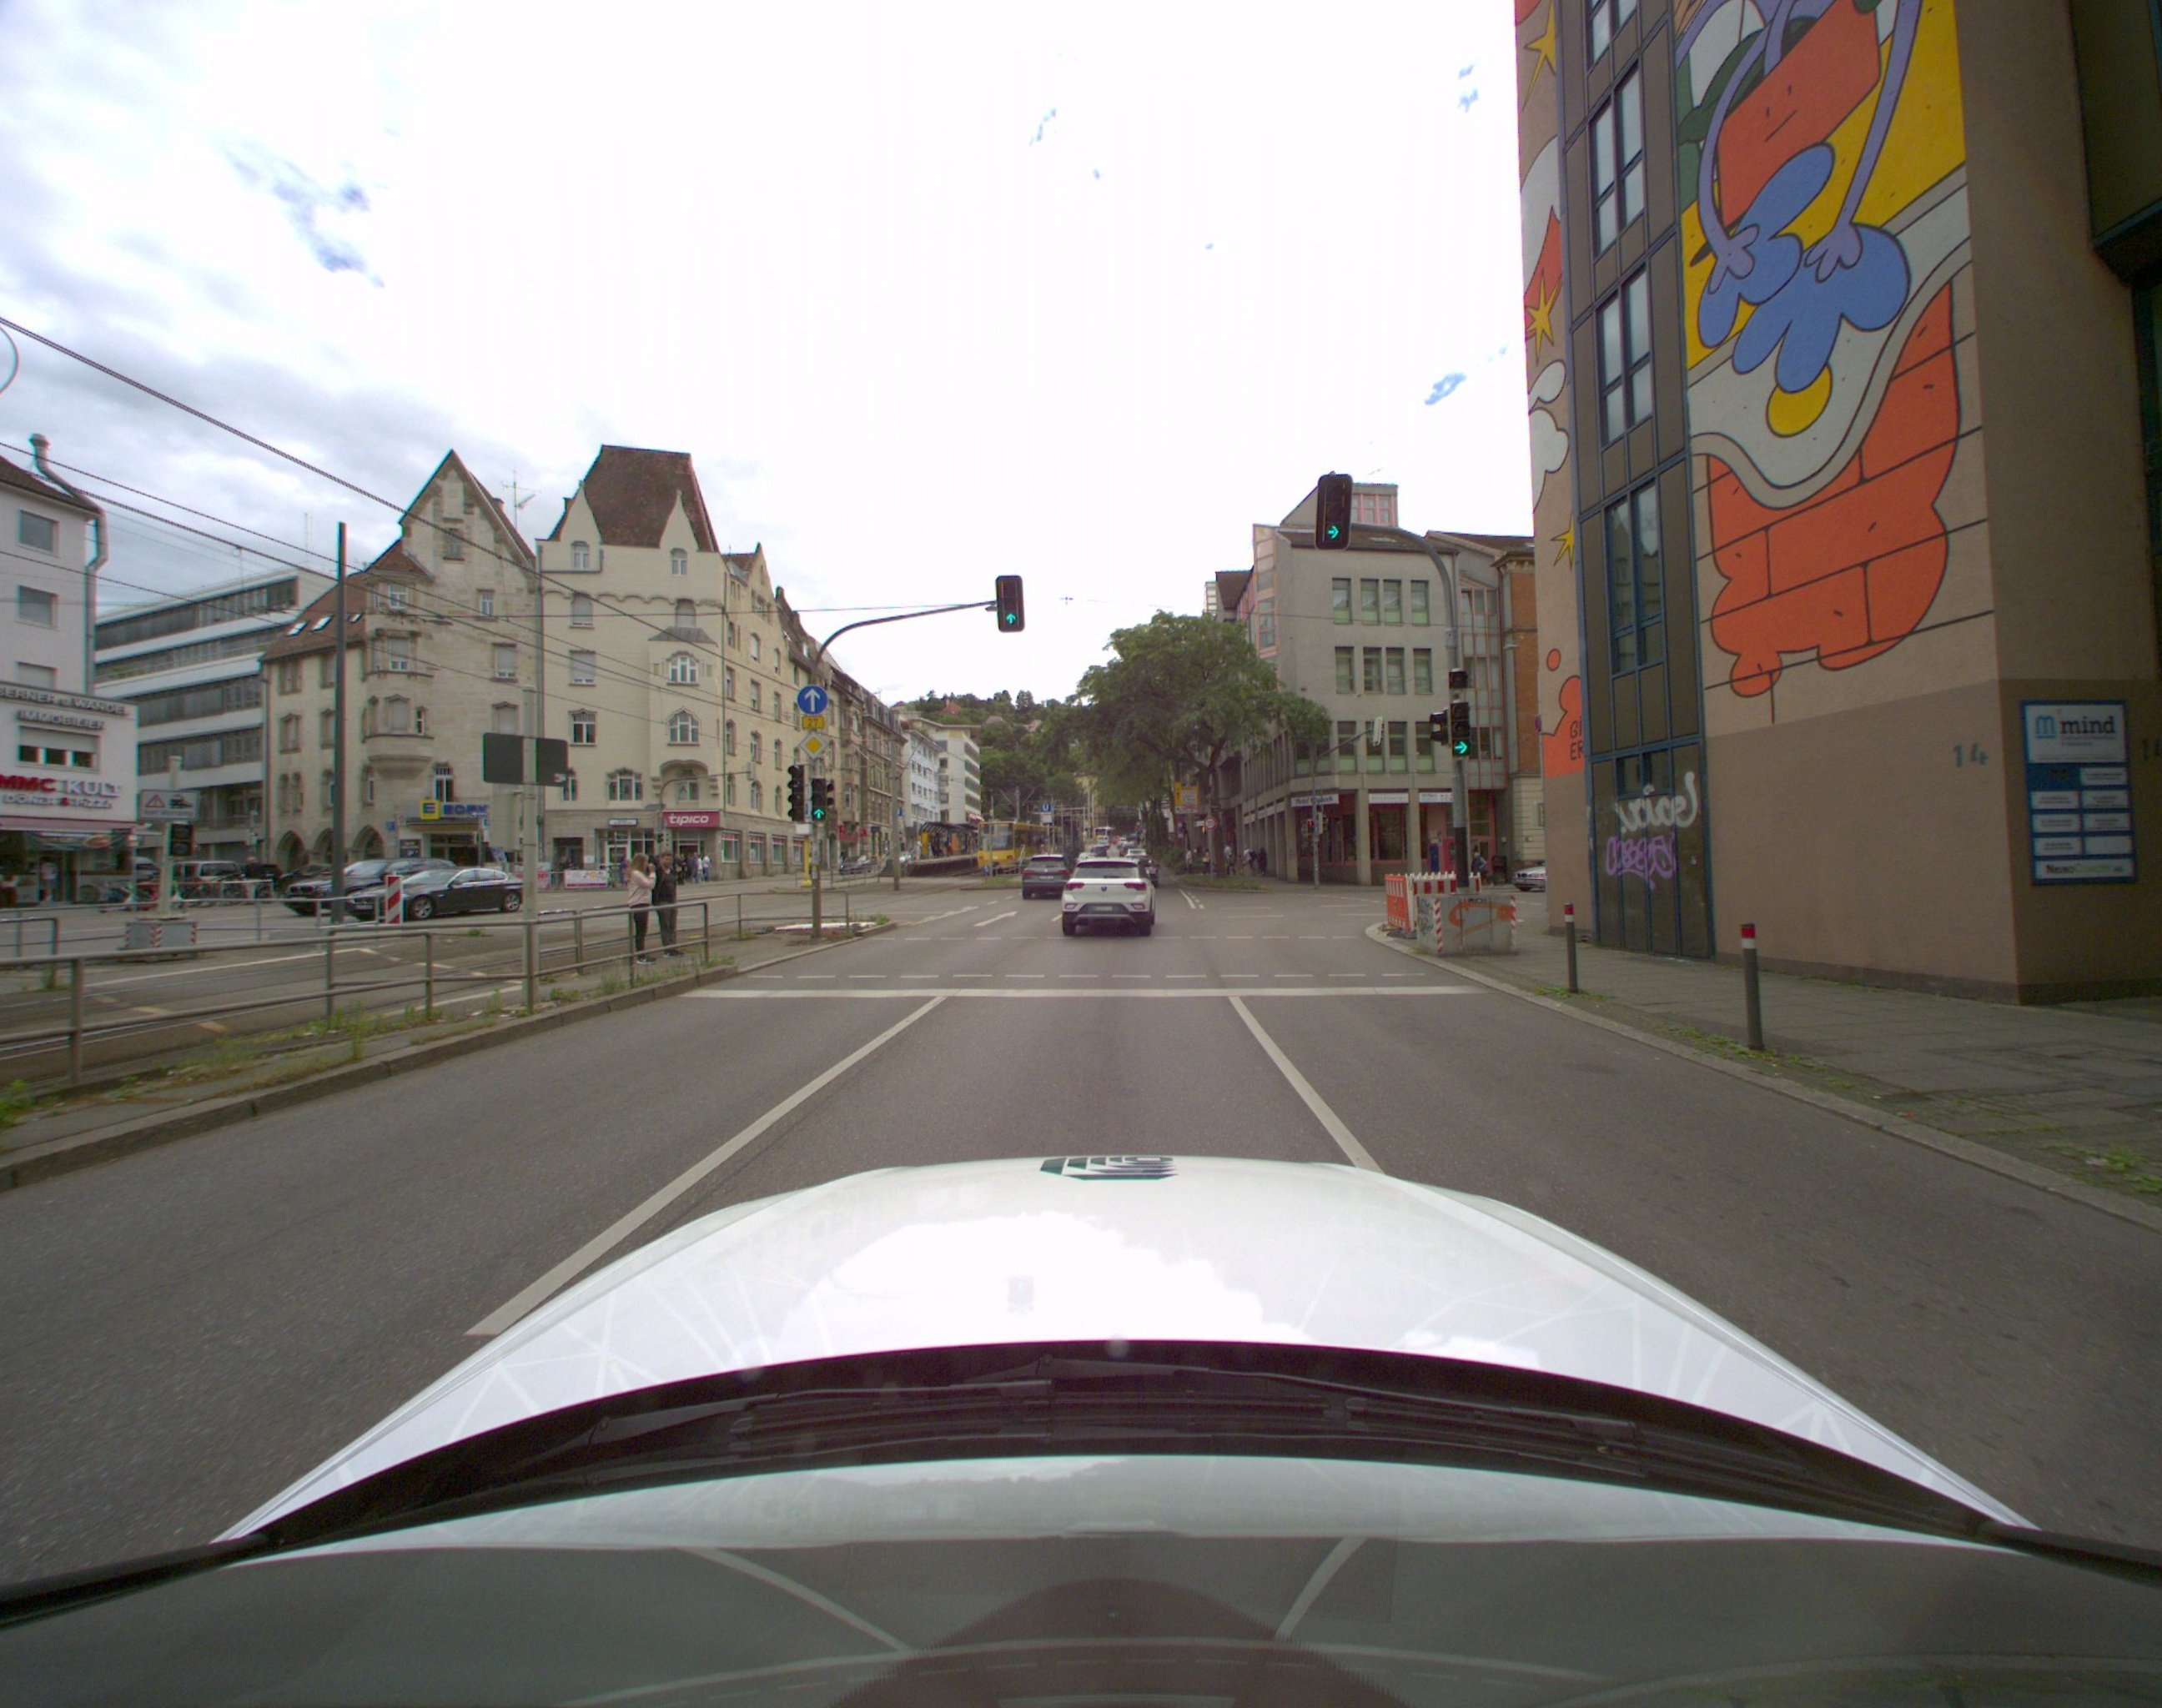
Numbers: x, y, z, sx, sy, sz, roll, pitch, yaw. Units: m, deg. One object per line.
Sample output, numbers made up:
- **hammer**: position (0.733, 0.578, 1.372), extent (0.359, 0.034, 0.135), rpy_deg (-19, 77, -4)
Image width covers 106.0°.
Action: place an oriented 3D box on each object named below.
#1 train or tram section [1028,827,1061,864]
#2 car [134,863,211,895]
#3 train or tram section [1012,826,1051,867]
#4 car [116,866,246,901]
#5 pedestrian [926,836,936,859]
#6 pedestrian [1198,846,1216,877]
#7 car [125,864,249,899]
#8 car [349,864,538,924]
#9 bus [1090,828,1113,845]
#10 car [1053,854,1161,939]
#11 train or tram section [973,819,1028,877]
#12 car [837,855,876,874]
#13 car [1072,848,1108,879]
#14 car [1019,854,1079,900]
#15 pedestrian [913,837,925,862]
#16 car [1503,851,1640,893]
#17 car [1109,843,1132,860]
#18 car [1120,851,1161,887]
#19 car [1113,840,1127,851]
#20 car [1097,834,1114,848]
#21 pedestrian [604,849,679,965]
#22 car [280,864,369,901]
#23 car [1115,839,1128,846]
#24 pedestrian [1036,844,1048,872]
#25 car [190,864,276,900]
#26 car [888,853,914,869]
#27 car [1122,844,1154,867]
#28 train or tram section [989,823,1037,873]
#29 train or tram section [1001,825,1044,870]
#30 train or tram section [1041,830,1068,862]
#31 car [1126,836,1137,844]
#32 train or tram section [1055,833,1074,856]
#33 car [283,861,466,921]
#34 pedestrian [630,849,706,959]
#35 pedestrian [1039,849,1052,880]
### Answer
- **train or tram section**: position (-3.706, -0.893, 84.179), extent (2.801, 3.666, 5.908), rpy_deg (0, 1, 3)
- **car**: position (-55.713, 1.510, 49.944), extent (3.741, 1.745, 1.644), rpy_deg (-3, 0, 17)
- **train or tram section**: position (-4.361, -0.665, 72.588), extent (2.823, 3.520, 5.757), rpy_deg (0, 1, 3)
- **car**: position (-41.477, 1.335, 37.578), extent (4.474, 1.560, 1.758), rpy_deg (0, 0, 7)
- **pedestrian**: position (-11.381, -0.502, 61.802), extent (0.634, 1.711, 0.689), rpy_deg (-1, 1, -6)
- **pedestrian**: position (7.321, 0.422, 47.237), extent (0.833, 1.704, 0.764), rpy_deg (-3, 0, -2)
- **car**: position (-41.468, 1.255, 37.806), extent (4.470, 1.560, 1.760), rpy_deg (0, 0, 11)
- **car**: position (-18.740, 1.111, 24.263), extent (1.647, 1.552, 4.545), rpy_deg (-1, 0, 8)
- **bus**: position (4.152, -3.415, 161.522), extent (3.355, 3.064, 13.347), rpy_deg (0, 0, 6)
- **car**: position (0.685, 0.808, 17.572), extent (1.827, 1.584, 4.167), rpy_deg (-1, 0, 8)
- **train or tram section**: position (-5.349, -0.414, 55.296), extent (2.823, 3.678, 5.757), rpy_deg (0, 1, 3)
- **car**: position (-17.925, 0.827, 65.205), extent (1.623, 1.375, 3.791), rpy_deg (-3, 0, 7)
- **car**: position (0.582, 0.549, 50.216), extent (1.903, 1.689, 4.006), rpy_deg (0, 2, 5)
- **car**: position (-1.142, 0.820, 30.972), extent (1.986, 1.636, 4.002), rpy_deg (-1, 0, 2)
- **pedestrian**: position (-11.495, -0.306, 57.702), extent (0.685, 1.711, 0.662), rpy_deg (-1, 1, 1)
- **car**: position (18.001, 0.638, 29.962), extent (4.147, 1.428, 1.848), rpy_deg (-1, 0, -10)
- **car**: position (4.715, -0.319, 98.826), extent (2.359, 2.014, 5.143), rpy_deg (0, 0, -2)
- **car**: position (2.876, 0.723, 40.056), extent (1.877, 1.684, 4.163), rpy_deg (0, 0, 2)
- **car**: position (6.260, -1.325, 131.961), extent (1.880, 1.684, 4.158), rpy_deg (0, 0, -2)
- **car**: position (3.837, -1.952, 126.629), extent (2.353, 2.014, 5.156), rpy_deg (0, 0, 6)
- **pedestrian**: position (-6.729, 0.790, 12.491), extent (0.761, 1.721, 0.638), rpy_deg (-1, 0, 2)
- **car**: position (-39.196, 1.475, 42.202), extent (3.741, 1.684, 1.644), rpy_deg (-3, 0, 17)
- **car**: position (7.683, -2.160, 154.229), extent (1.570, 1.172, 3.693), rpy_deg (0, 0, 15)
- **pedestrian**: position (-2.387, 0.230, 49.950), extent (0.682, 1.711, 0.712), rpy_deg (-1, 1, 2)
- **car**: position (-46.036, 1.509, 44.237), extent (3.741, 1.745, 1.644), rpy_deg (-3, 0, 17)
- **car**: position (-17.602, 0.719, 79.722), extent (1.552, 1.523, 3.604), rpy_deg (0, 0, 4)
- **car**: position (4.325, 0.137, 62.515), extent (1.881, 1.684, 4.155), rpy_deg (0, 0, -4)
- **train or tram section**: position (-5.032, -0.464, 61.059), extent (2.823, 3.520, 5.757), rpy_deg (0, 1, 3)
- **train or tram section**: position (-4.709, -0.558, 66.810), extent (2.823, 3.520, 5.757), rpy_deg (0, 1, 3)
- **train or tram section**: position (-3.067, -0.986, 97.213), extent (2.802, 3.666, 6.754), rpy_deg (0, 1, 2)
- **car**: position (10.984, -3.049, 176.479), extent (1.873, 1.684, 4.172), rpy_deg (0, 0, 9)
- **train or tram section**: position (-2.605, -1.561, 131.723), extent (2.802, 3.666, 6.754), rpy_deg (0, 1, 2)
- **car**: position (-22.862, 1.133, 26.657), extent (1.666, 1.759, 4.785), rpy_deg (0, 0, 3)
- **pedestrian**: position (-6.694, 0.791, 13.240), extent (0.788, 1.721, 0.773), rpy_deg (-1, 0, 2)
- **pedestrian**: position (-1.983, 0.597, 46.115), extent (0.633, 1.711, 0.872), rpy_deg (-1, 1, 2)
